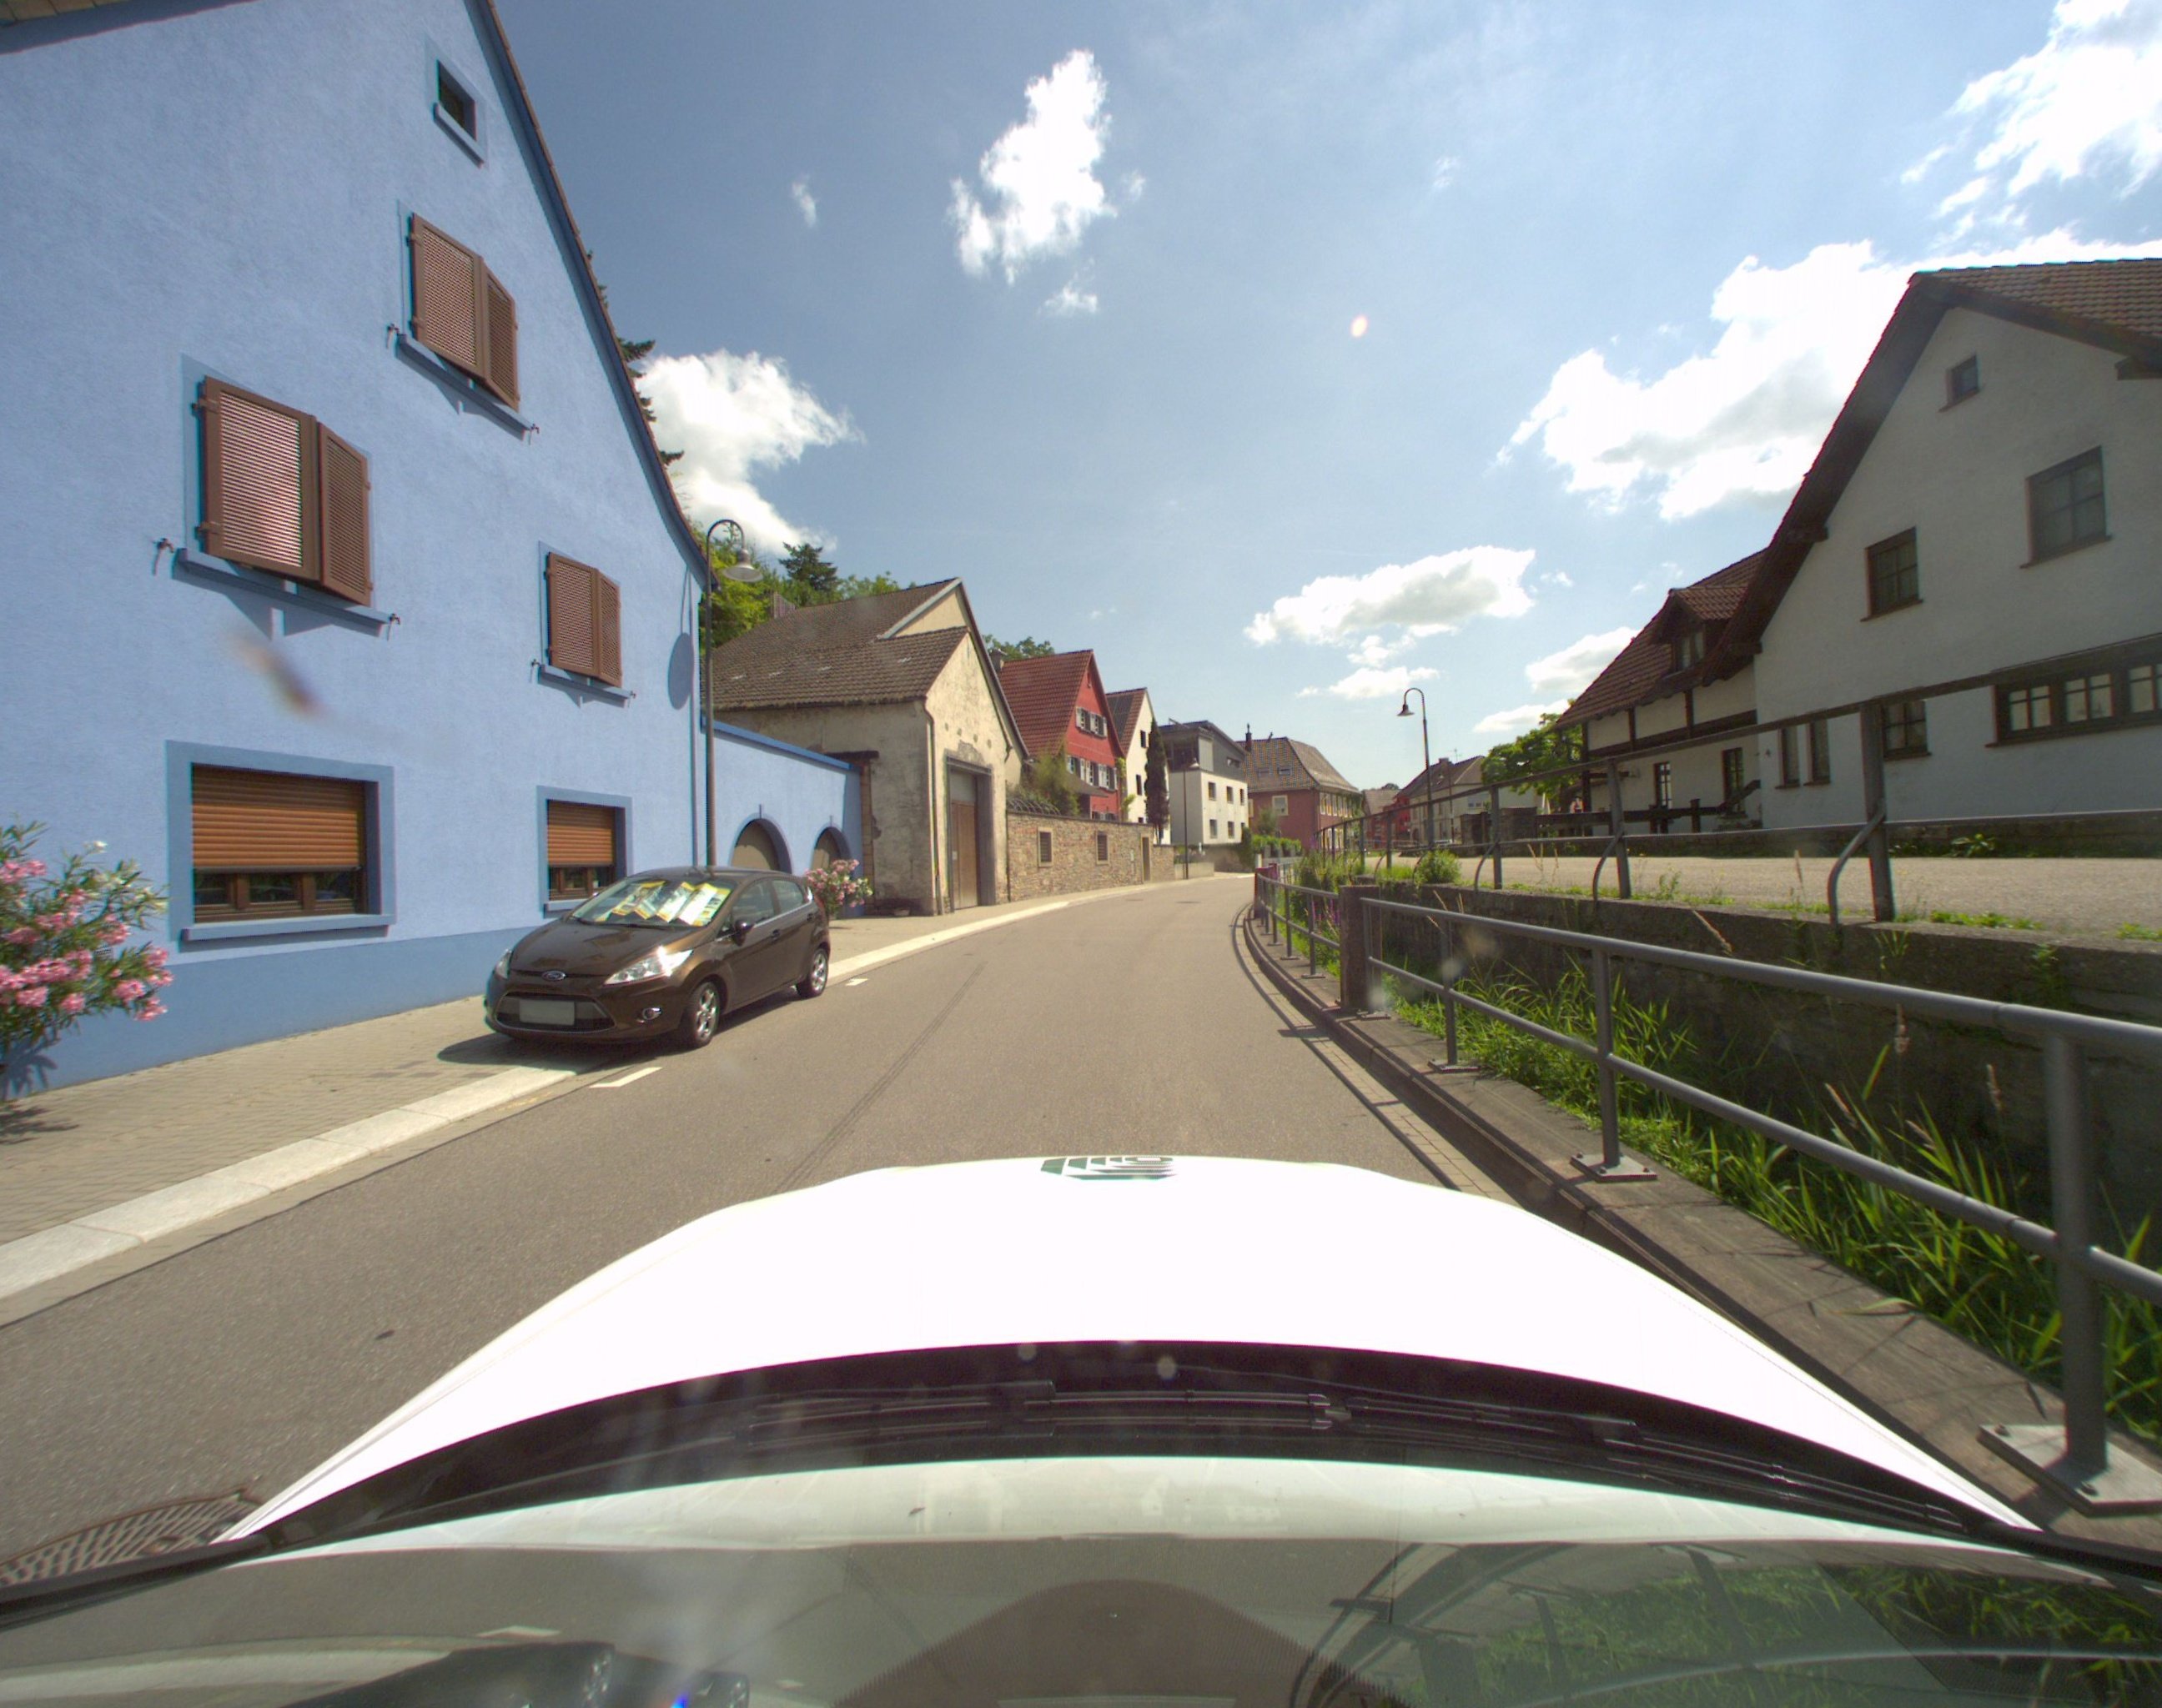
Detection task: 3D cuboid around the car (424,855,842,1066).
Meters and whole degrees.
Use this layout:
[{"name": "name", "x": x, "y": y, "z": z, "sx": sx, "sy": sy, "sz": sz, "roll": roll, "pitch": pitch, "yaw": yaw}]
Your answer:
[{"name": "car", "x": -3.866, "y": 0.785, "z": 7.905, "sx": 1.709, "sy": 1.530, "sz": 3.860, "roll": -1, "pitch": 0, "yaw": 4}]

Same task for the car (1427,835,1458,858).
[{"name": "car", "x": 33.596, "y": -0.715, "z": 75.657, "sx": 1.879, "sy": 1.981, "sz": 3.134, "roll": -5, "pitch": -2, "yaw": 35}]
